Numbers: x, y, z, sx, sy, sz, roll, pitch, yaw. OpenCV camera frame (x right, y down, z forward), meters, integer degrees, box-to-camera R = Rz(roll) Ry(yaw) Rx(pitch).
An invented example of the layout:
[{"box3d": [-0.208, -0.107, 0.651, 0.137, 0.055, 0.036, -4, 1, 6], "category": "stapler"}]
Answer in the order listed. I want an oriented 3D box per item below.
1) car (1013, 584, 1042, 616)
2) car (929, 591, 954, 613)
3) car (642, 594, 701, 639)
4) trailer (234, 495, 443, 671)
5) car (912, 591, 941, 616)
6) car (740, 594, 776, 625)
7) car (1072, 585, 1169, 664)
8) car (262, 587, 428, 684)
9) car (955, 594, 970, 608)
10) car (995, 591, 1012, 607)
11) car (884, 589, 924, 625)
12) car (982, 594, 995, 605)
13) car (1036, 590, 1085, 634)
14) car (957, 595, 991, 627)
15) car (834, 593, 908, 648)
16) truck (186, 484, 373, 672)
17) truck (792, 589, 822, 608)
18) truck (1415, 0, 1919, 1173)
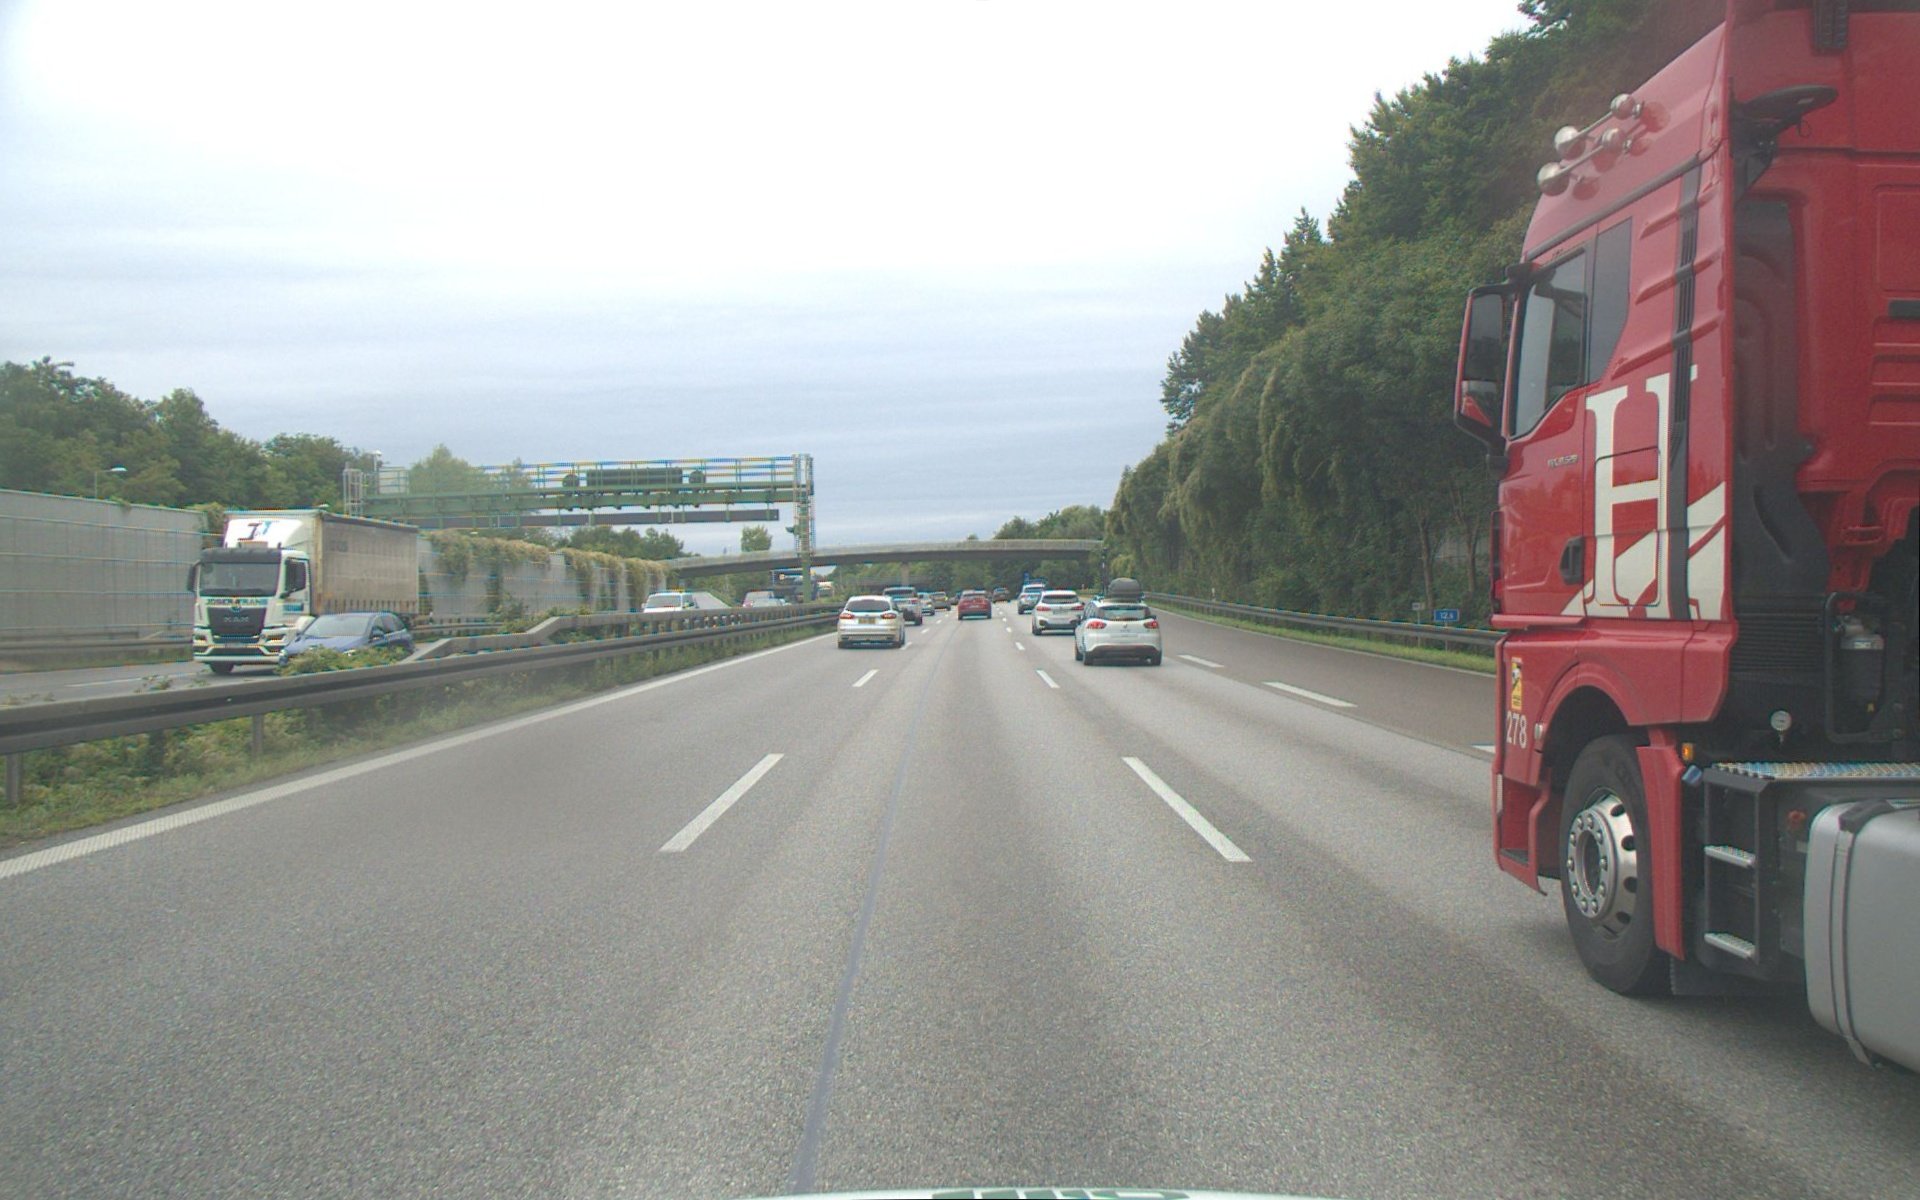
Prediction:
[{"box3d": [3.844, 0.003, 94.516, 1.654, 1.811, 3.872, 0, 0, 2], "category": "car"}, {"box3d": [-1.406, 0.132, 128.389, 1.654, 1.532, 3.872, 4, 0, 2], "category": "car"}, {"box3d": [-13.519, 0.790, 77.739, 1.953, 2.049, 4.908, 0, -1, 0], "category": "car"}, {"box3d": [-17.413, -0.437, 47.028, 2.613, 4.522, 8.573, 0, 0, 1], "category": "trailer"}, {"box3d": [-2.153, 0.227, 106.732, 1.654, 1.533, 3.872, -2, 0, 2], "category": "car"}, {"box3d": [-13.541, 0.678, 111.135, 1.953, 2.049, 3.999, 0, -1, -1], "category": "car"}, {"box3d": [3.561, 0.543, 37.430, 1.778, 1.654, 5.030, 1, -1, 1], "category": "car"}, {"box3d": [-13.856, 0.788, 37.602, 1.953, 2.049, 4.908, 0, -1, 0], "category": "car"}, {"box3d": [0.290, 0.117, 194.770, 1.654, 1.668, 3.872, -1, -1, 2], "category": "car"}, {"box3d": [4.302, -0.096, 163.608, 1.654, 1.566, 3.872, 0, 0, 2], "category": "car"}, {"box3d": [-2.615, 0.301, 77.965, 1.654, 1.532, 3.871, 4, 0, 0], "category": "car"}, {"box3d": [3.674, -0.018, 216.098, 1.654, 1.447, 4.071, 0, 0, 0], "category": "car"}, {"box3d": [3.573, 0.457, 59.276, 1.654, 1.533, 3.872, 0, -1, 2], "category": "car"}, {"box3d": [0.721, 0.566, 86.943, 1.655, 1.532, 3.871, 4, 0, 0], "category": "car"}, {"box3d": [-2.543, 0.587, 48.318, 1.853, 1.530, 5.030, 0, -1, 0], "category": "car"}, {"box3d": [-17.433, -0.531, 42.752, 2.594, 4.552, 5.283, 0, 0, 0], "category": "truck"}, {"box3d": [-16.765, -0.162, 181.575, 2.533, 1.840, 5.971, 4, 0, 0], "category": "truck"}, {"box3d": [3.821, -0.481, 5.685, 2.640, 3.981, 6.555, 0, 0, -1], "category": "truck"}]
